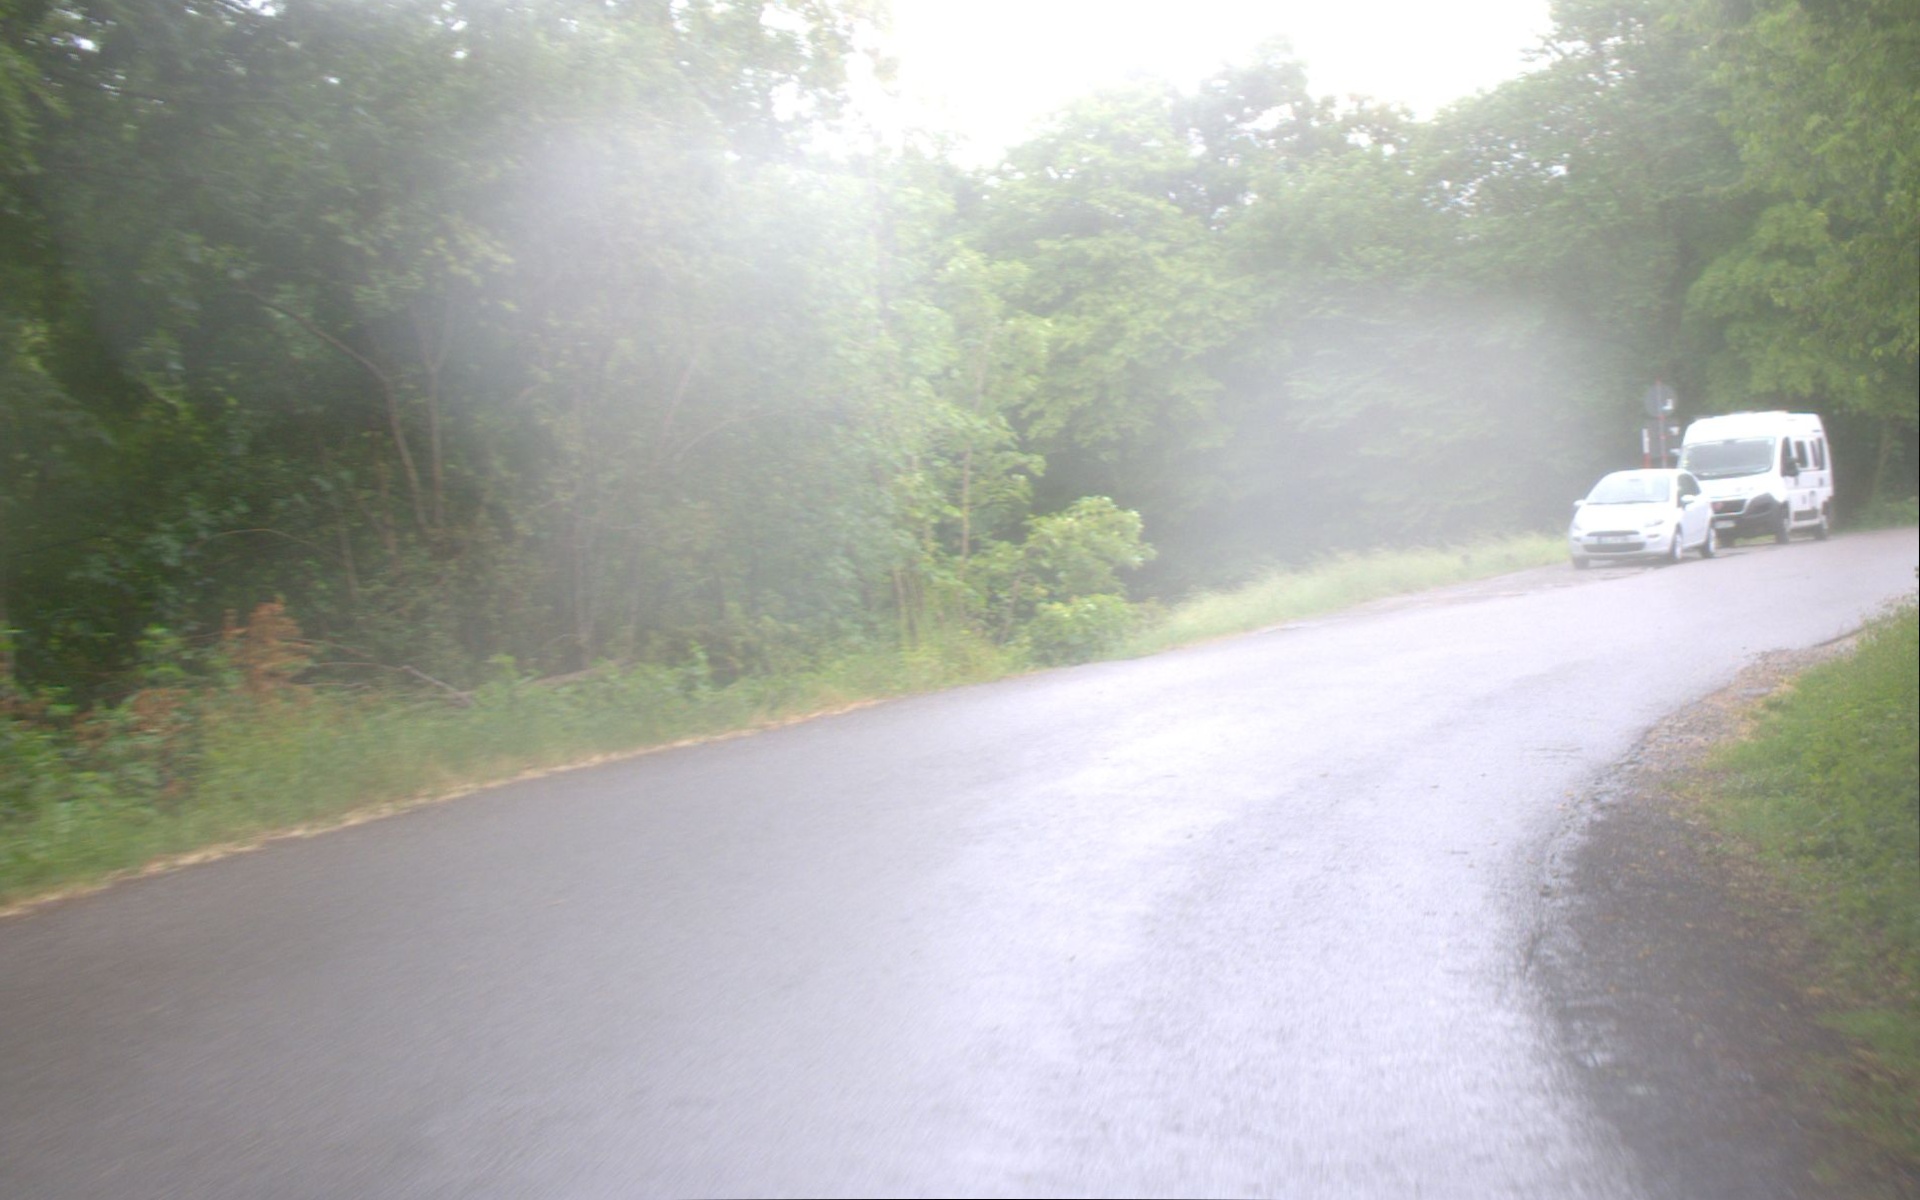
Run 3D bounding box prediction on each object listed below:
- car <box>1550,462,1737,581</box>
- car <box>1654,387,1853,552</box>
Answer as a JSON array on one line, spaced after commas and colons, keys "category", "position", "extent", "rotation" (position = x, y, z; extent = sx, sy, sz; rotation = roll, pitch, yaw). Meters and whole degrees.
[{"category": "car", "position": [11.022, -1.290, 55.186], "extent": [1.863, 1.590, 4.490], "rotation": [-3, 2, 25]}, {"category": "car", "position": [14.899, -2.494, 64.263], "extent": [2.275, 2.687, 6.042], "rotation": [-4, 2, 25]}]
